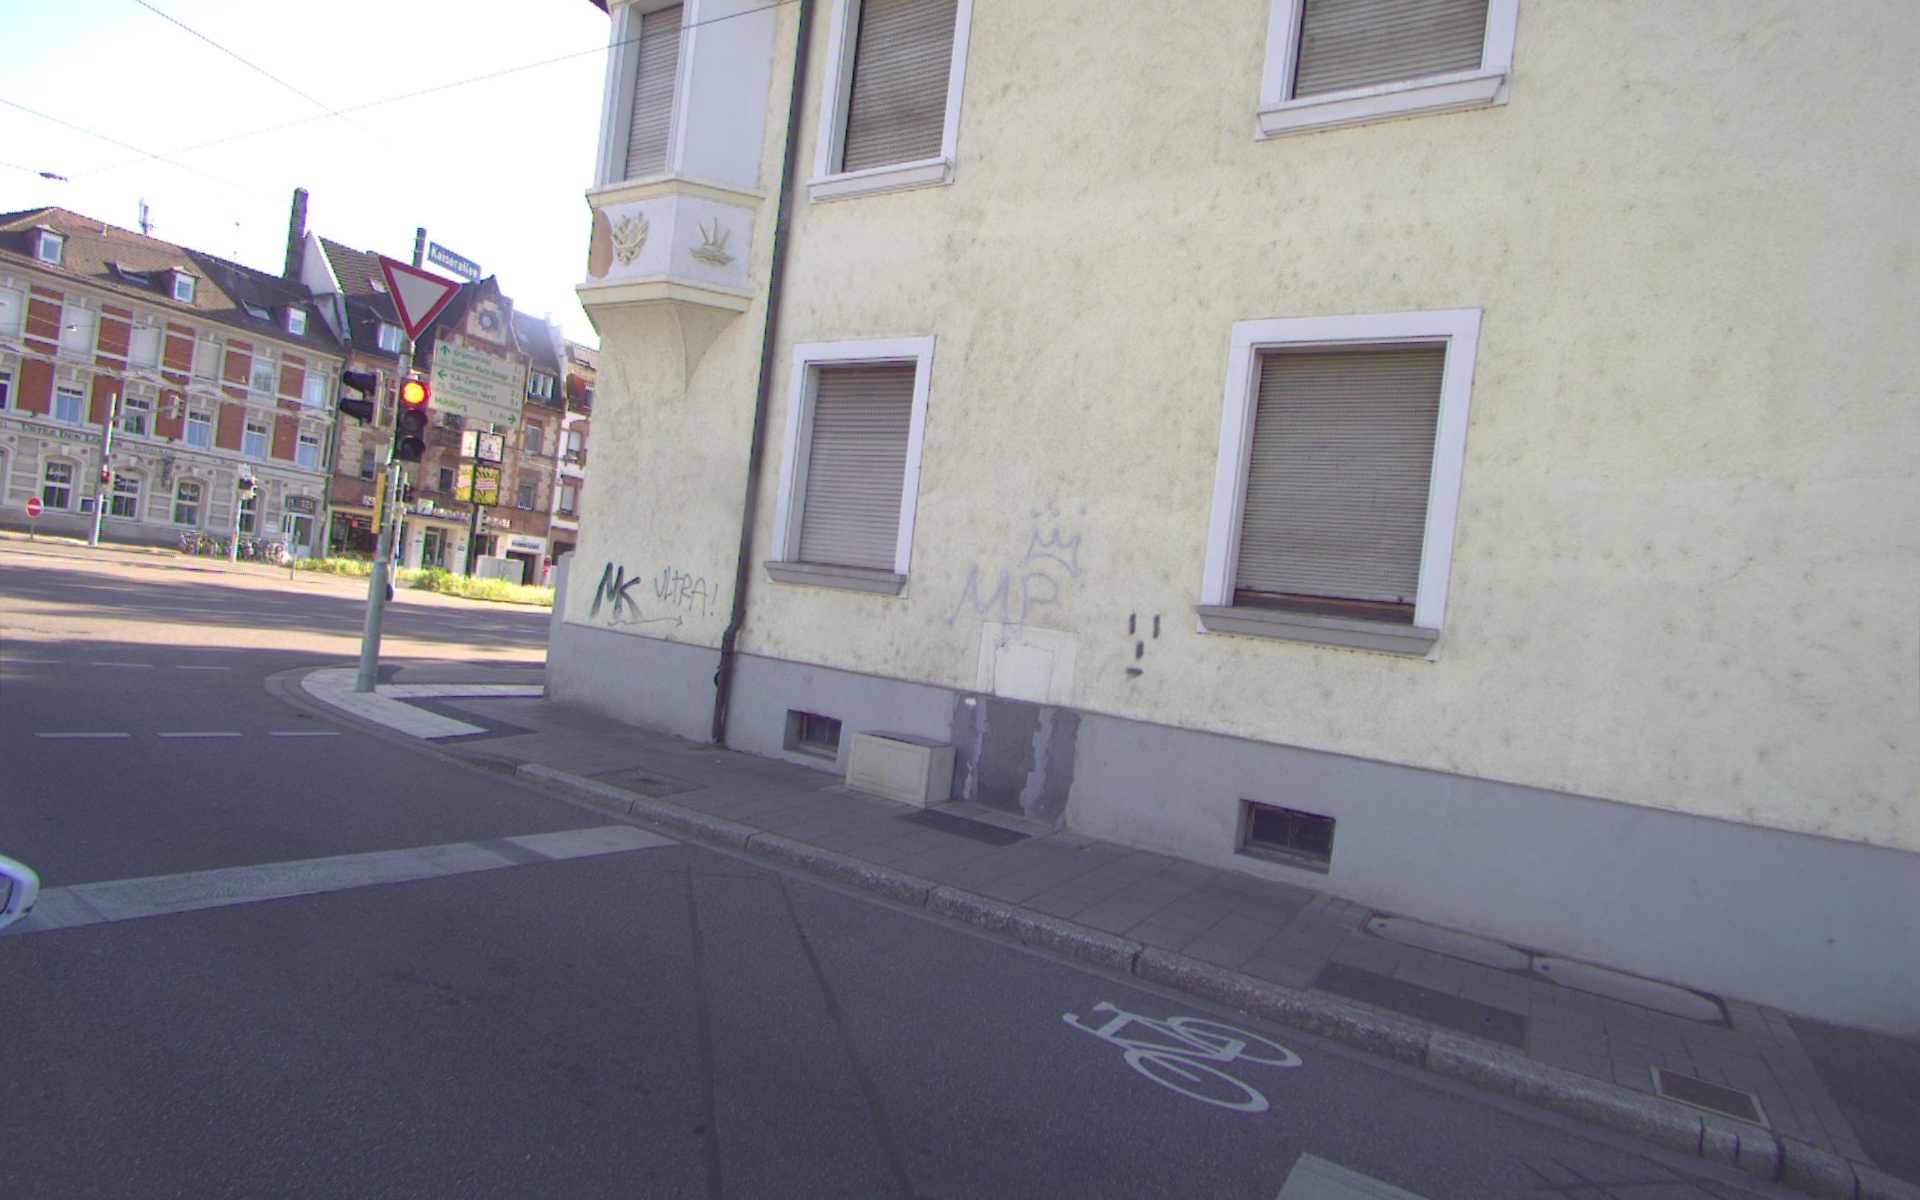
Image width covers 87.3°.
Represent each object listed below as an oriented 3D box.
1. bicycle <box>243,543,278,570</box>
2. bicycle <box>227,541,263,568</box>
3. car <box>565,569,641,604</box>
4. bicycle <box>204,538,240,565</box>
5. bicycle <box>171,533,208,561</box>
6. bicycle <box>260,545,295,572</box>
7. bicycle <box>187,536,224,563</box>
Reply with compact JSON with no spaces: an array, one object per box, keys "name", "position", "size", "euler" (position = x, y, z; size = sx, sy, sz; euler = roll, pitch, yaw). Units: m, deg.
[{"name":"bicycle","position":[-33.350,-2.083,47.948],"size":[1.614,1.064,0.606],"euler":[7,0,27]},{"name":"bicycle","position":[-33.644,-2.147,47.337],"size":[1.614,1.064,0.606],"euler":[7,0,27]},{"name":"car","position":[-23.118,-0.855,65.306],"size":[1.966,1.674,4.378],"euler":[7,-1,29]},{"name":"bicycle","position":[-34.310,-2.257,46.767],"size":[1.614,1.064,0.606],"euler":[7,0,27]},{"name":"bicycle","position":[-34.940,-2.387,45.609],"size":[1.614,1.064,0.606],"euler":[7,0,27]},{"name":"bicycle","position":[-32.976,-2.008,48.585],"size":[1.614,1.064,0.606],"euler":[7,0,27]},{"name":"bicycle","position":[-34.641,-2.324,46.191],"size":[1.614,1.064,0.606],"euler":[7,0,27]}]
